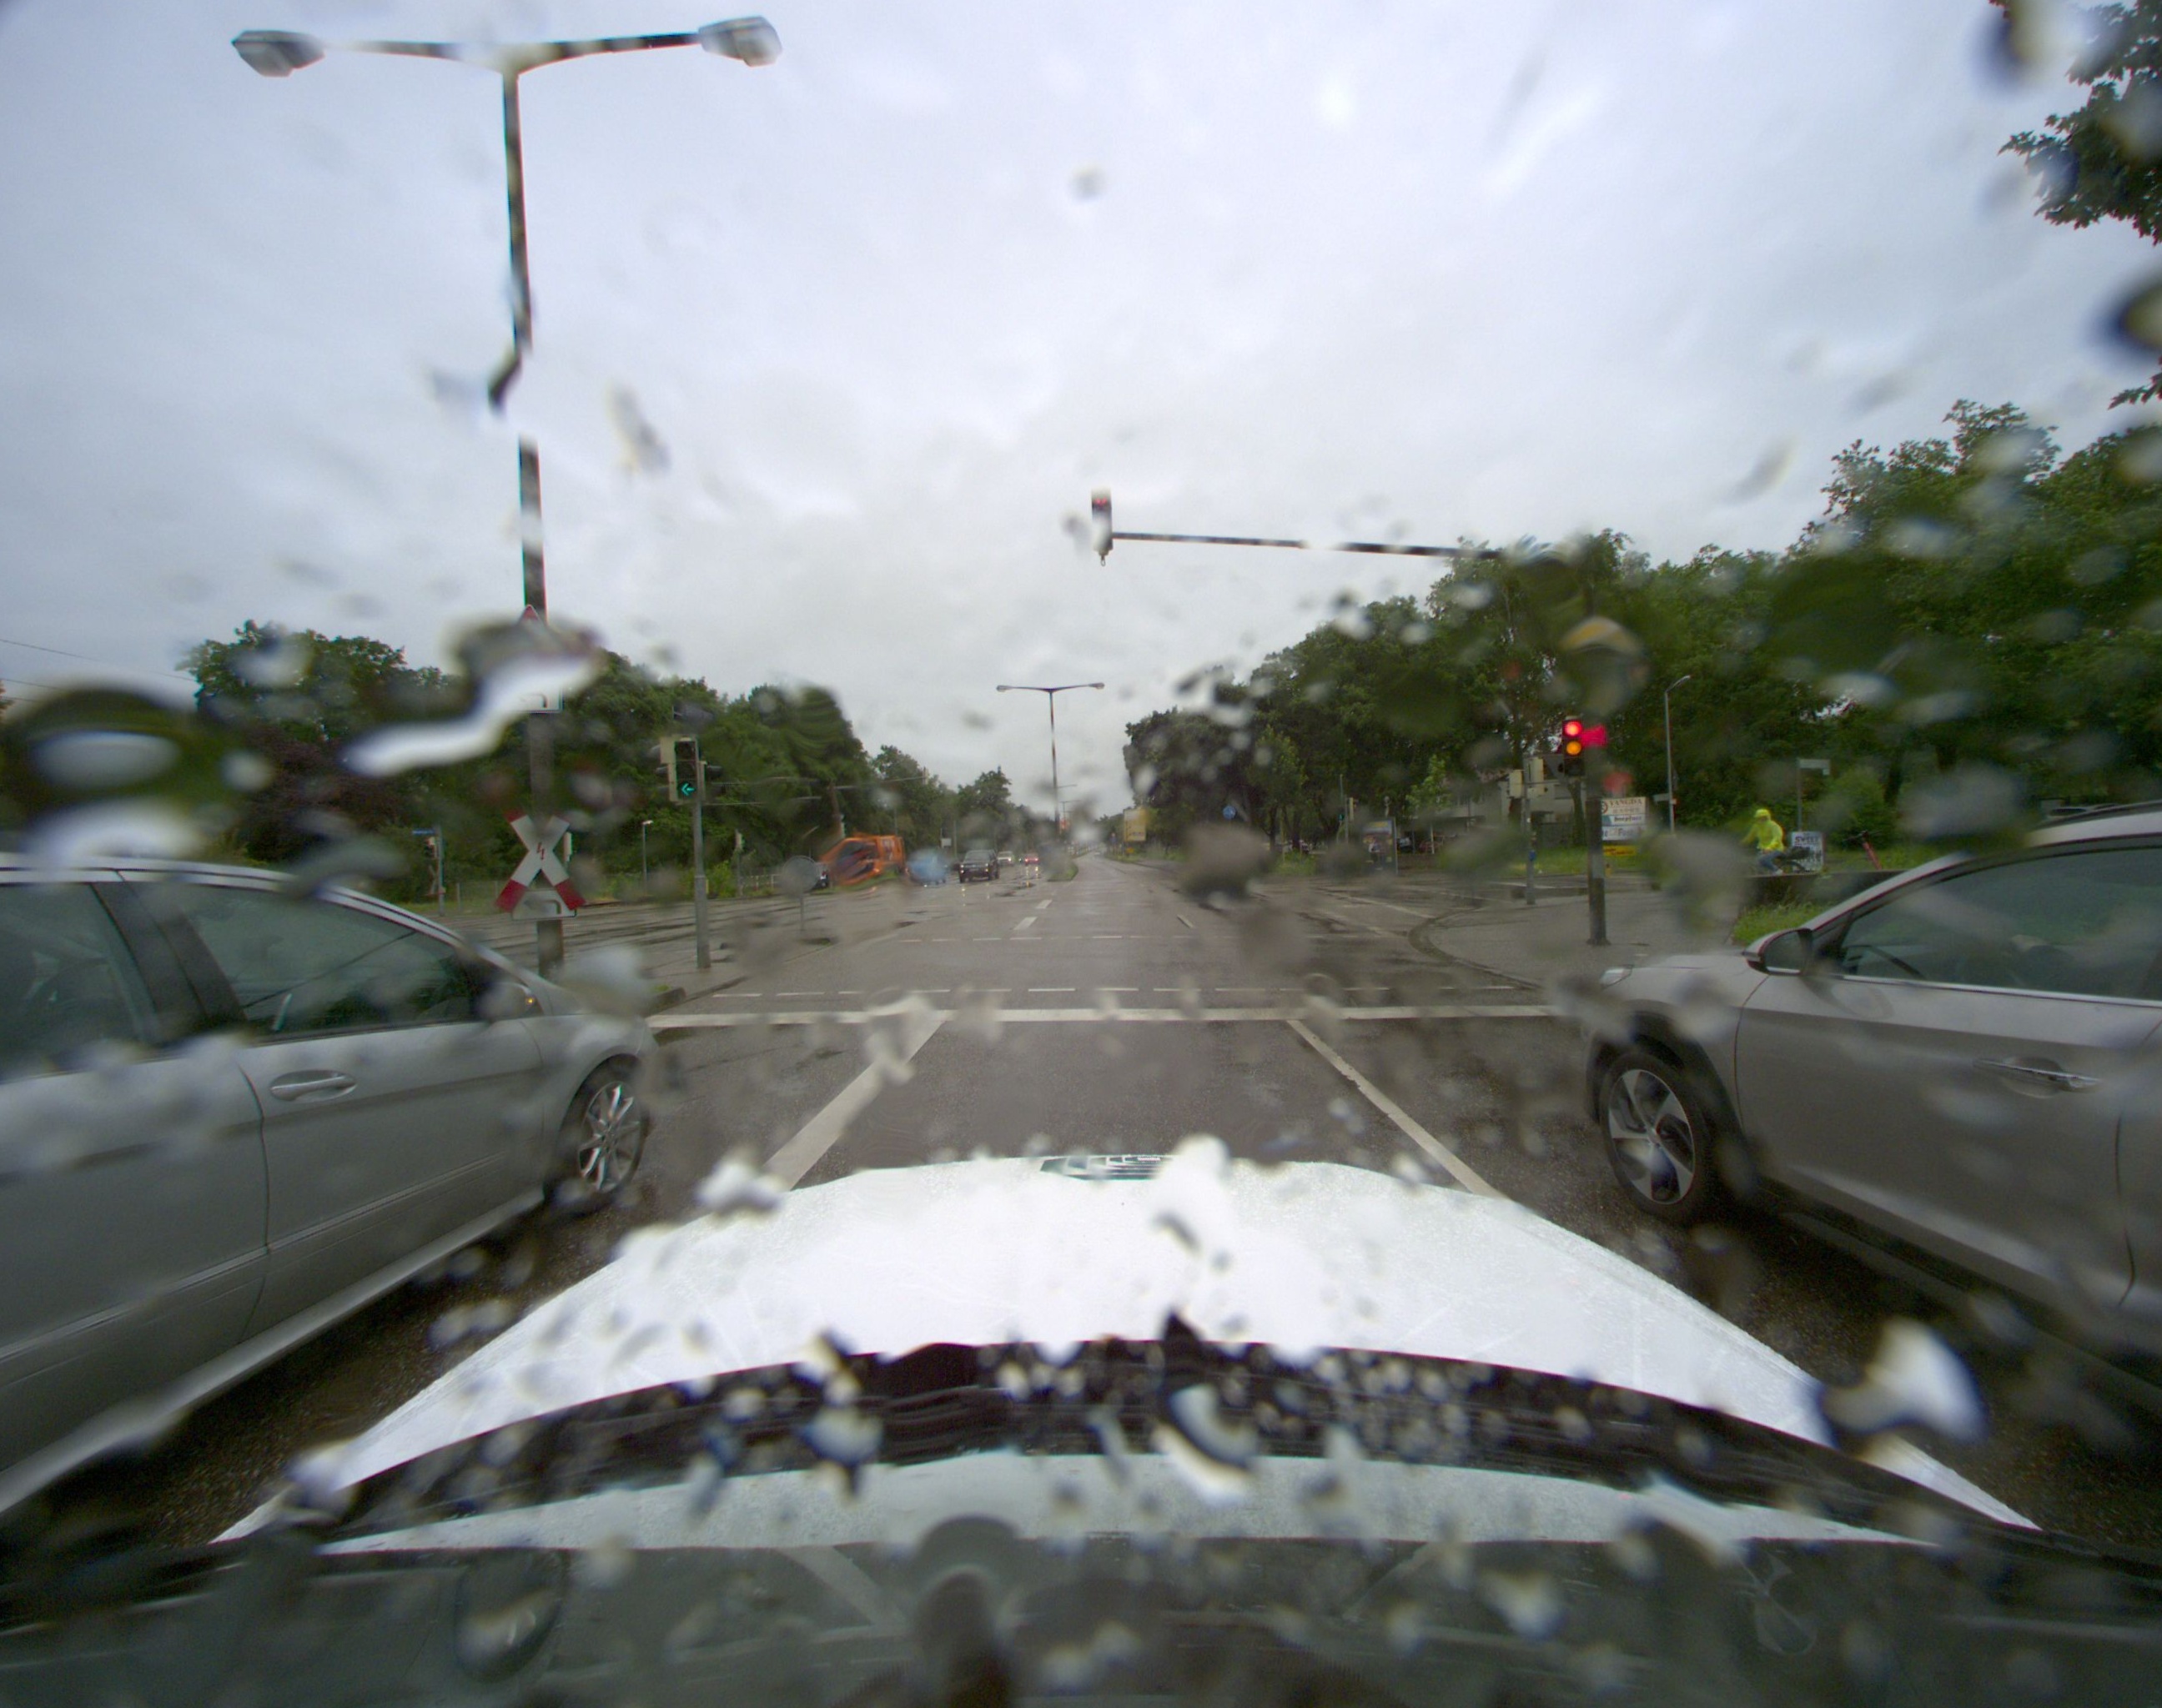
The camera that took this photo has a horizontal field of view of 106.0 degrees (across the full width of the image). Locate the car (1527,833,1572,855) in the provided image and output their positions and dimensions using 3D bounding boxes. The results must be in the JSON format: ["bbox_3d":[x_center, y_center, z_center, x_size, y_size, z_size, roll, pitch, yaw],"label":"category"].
[{"bbox_3d":[32.510,-0.668,56.524,3.772,1.449,1.584,0,-1,-42],"label":"car"}]

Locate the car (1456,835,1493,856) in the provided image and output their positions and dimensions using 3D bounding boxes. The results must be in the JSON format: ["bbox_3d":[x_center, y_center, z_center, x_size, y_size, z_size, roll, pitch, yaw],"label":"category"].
[{"bbox_3d":[29.158,-0.619,60.283,1.648,1.449,3.776,-1,-1,39],"label":"car"}]

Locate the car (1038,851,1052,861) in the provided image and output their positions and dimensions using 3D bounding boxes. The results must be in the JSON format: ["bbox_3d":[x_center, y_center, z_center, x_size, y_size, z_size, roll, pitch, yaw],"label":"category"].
[{"bbox_3d":[-6.016,0.317,137.023,1.954,1.617,4.698,-3,0,1],"label":"car"}]

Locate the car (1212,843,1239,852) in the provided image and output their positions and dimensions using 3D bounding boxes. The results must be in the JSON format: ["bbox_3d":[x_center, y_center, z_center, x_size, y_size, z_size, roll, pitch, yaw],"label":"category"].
[{"bbox_3d":[27.186,-1.216,153.093,4.562,1.645,1.997,0,0,-5],"label":"car"}]

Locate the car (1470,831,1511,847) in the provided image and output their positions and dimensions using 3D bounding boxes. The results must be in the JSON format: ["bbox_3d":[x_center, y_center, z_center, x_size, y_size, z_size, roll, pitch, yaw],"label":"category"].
[{"bbox_3d":[36.550,-1.321,72.790,1.579,1.385,3.998,0,0,-1],"label":"car"}]

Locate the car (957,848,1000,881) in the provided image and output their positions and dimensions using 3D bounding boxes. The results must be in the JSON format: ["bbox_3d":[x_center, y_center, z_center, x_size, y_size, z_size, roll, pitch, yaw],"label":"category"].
[{"bbox_3d":[-6.126,0.606,49.124,1.799,1.773,5.090,-4,0,1],"label":"car"}]

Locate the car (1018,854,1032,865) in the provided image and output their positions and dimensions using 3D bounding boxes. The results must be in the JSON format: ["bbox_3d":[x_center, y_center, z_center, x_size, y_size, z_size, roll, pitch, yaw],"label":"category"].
[{"bbox_3d":[-8.873,0.835,130.268,1.700,1.641,4.332,-4,0,2],"label":"car"}]

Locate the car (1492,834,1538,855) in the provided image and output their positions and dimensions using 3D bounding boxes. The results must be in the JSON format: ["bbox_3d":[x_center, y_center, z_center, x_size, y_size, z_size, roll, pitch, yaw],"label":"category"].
[{"bbox_3d":[30.923,-0.647,57.968,3.772,1.449,1.650,0,-1,-42],"label":"car"}]

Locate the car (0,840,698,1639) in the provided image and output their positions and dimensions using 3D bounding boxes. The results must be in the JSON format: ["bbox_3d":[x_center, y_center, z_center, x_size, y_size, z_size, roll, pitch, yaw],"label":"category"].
[{"bbox_3d":[-2.957,0.776,2.259,1.730,1.544,4.015,-2,0,2],"label":"car"}]

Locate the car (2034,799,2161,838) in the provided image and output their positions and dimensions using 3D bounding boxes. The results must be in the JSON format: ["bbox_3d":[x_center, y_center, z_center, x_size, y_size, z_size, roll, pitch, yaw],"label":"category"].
[{"bbox_3d":[45.267,-1.554,35.999,4.582,1.583,1.921,0,0,-8],"label":"car"}]

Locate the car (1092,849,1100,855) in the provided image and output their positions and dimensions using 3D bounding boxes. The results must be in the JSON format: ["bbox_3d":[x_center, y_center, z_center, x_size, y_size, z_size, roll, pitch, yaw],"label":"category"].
[{"bbox_3d":[3.881,-0.494,207.501,1.900,1.515,4.002,-2,0,2],"label":"car"}]

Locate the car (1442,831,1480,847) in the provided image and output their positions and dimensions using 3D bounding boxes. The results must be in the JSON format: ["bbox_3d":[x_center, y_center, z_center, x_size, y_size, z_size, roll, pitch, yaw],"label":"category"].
[{"bbox_3d":[33.866,-1.319,72.640,1.568,1.316,3.699,-1,0,-2],"label":"car"}]

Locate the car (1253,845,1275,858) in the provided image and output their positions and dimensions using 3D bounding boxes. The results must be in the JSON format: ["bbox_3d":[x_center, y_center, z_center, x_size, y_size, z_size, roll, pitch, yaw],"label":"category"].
[{"bbox_3d":[21.552,-0.246,96.253,1.632,1.486,4.071,0,0,-1],"label":"car"}]

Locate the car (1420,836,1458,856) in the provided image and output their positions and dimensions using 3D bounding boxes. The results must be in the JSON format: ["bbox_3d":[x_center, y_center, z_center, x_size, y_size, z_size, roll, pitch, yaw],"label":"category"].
[{"bbox_3d":[27.058,-0.594,61.567,1.648,1.449,3.776,-1,-1,39],"label":"car"}]

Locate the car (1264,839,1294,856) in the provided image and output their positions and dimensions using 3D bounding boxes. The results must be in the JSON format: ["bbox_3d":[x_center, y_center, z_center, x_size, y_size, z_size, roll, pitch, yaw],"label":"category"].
[{"bbox_3d":[21.475,-0.660,88.318,1.988,1.717,4.639,-3,0,-1],"label":"car"}]

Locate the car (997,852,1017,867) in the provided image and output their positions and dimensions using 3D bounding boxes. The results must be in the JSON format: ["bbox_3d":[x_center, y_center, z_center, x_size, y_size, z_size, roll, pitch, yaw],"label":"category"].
[{"bbox_3d":[-8.967,0.636,98.847,1.887,1.611,4.502,-2,0,2],"label":"car"}]

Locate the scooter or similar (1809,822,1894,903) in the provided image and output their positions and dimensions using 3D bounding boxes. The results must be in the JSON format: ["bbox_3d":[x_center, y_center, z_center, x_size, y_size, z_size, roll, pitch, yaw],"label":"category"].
[{"bbox_3d":[12.240,0.138,12.947,0.952,1.229,0.322,-2,0,6],"label":"scooter or similar"}]

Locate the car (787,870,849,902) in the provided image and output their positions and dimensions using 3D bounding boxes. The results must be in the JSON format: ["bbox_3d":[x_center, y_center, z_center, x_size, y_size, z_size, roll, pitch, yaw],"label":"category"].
[{"bbox_3d":[-15.352,1.852,47.784,1.986,1.709,4.529,-1,0,2],"label":"car"}]

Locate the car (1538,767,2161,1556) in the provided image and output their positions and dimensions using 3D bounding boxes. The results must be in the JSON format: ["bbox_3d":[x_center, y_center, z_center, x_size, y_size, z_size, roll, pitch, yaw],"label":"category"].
[{"bbox_3d":[3.145,0.620,1.915,1.877,1.610,4.197,-1,0,2],"label":"car"}]

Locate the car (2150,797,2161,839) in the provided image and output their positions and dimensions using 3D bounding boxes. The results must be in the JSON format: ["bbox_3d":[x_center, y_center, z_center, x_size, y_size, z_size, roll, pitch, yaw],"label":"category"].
[{"bbox_3d":[43.985,-1.422,30.794,4.570,1.630,1.926,0,0,1],"label":"car"}]

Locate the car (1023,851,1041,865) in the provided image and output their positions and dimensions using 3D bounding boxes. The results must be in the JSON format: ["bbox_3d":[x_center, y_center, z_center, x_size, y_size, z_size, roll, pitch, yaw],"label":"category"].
[{"bbox_3d":[-6.011,0.491,100.441,1.795,1.569,4.428,-4,-1,0],"label":"car"}]

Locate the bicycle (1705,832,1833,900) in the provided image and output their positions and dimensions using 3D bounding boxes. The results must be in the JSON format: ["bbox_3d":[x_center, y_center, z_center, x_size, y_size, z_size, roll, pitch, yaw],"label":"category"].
[{"bbox_3d":[12.480,0.212,14.797,1.657,1.038,0.787,-6,0,-7],"label":"bicycle"}]

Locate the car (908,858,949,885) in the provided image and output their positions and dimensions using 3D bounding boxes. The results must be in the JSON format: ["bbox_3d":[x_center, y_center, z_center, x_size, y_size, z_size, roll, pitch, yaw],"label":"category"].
[{"bbox_3d":[-9.017,1.021,48.313,1.636,1.427,3.998,-4,0,-1],"label":"car"}]

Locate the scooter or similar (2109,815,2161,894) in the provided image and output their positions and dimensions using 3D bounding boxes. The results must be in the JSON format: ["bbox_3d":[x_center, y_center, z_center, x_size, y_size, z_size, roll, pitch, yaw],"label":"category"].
[{"bbox_3d":[16.162,-0.002,12.404,0.284,1.176,0.561,-2,0,8],"label":"scooter or similar"}]

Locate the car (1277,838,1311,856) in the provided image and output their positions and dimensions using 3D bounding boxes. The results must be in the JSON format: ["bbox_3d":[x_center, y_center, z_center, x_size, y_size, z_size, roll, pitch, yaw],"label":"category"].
[{"bbox_3d":[21.579,-0.685,82.775,1.988,1.717,4.876,-3,0,-1],"label":"car"}]

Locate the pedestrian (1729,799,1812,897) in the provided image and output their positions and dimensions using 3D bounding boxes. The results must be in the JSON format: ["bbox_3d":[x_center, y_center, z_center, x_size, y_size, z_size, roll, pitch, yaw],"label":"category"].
[{"bbox_3d":[12.511,-0.110,14.806,0.666,1.678,0.788,-6,0,-6],"label":"pedestrian"}]

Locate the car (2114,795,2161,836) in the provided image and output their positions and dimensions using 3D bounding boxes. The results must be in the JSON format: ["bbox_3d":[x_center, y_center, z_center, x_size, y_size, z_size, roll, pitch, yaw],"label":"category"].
[{"bbox_3d":[45.373,-1.570,33.229,4.582,1.583,1.921,0,0,-8],"label":"car"}]

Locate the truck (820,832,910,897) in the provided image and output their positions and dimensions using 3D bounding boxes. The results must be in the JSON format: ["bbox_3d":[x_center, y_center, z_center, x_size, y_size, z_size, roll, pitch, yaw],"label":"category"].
[{"bbox_3d":[-15.062,0.687,57.832,3.373,4.167,10.408,0,0,1],"label":"truck"}]
